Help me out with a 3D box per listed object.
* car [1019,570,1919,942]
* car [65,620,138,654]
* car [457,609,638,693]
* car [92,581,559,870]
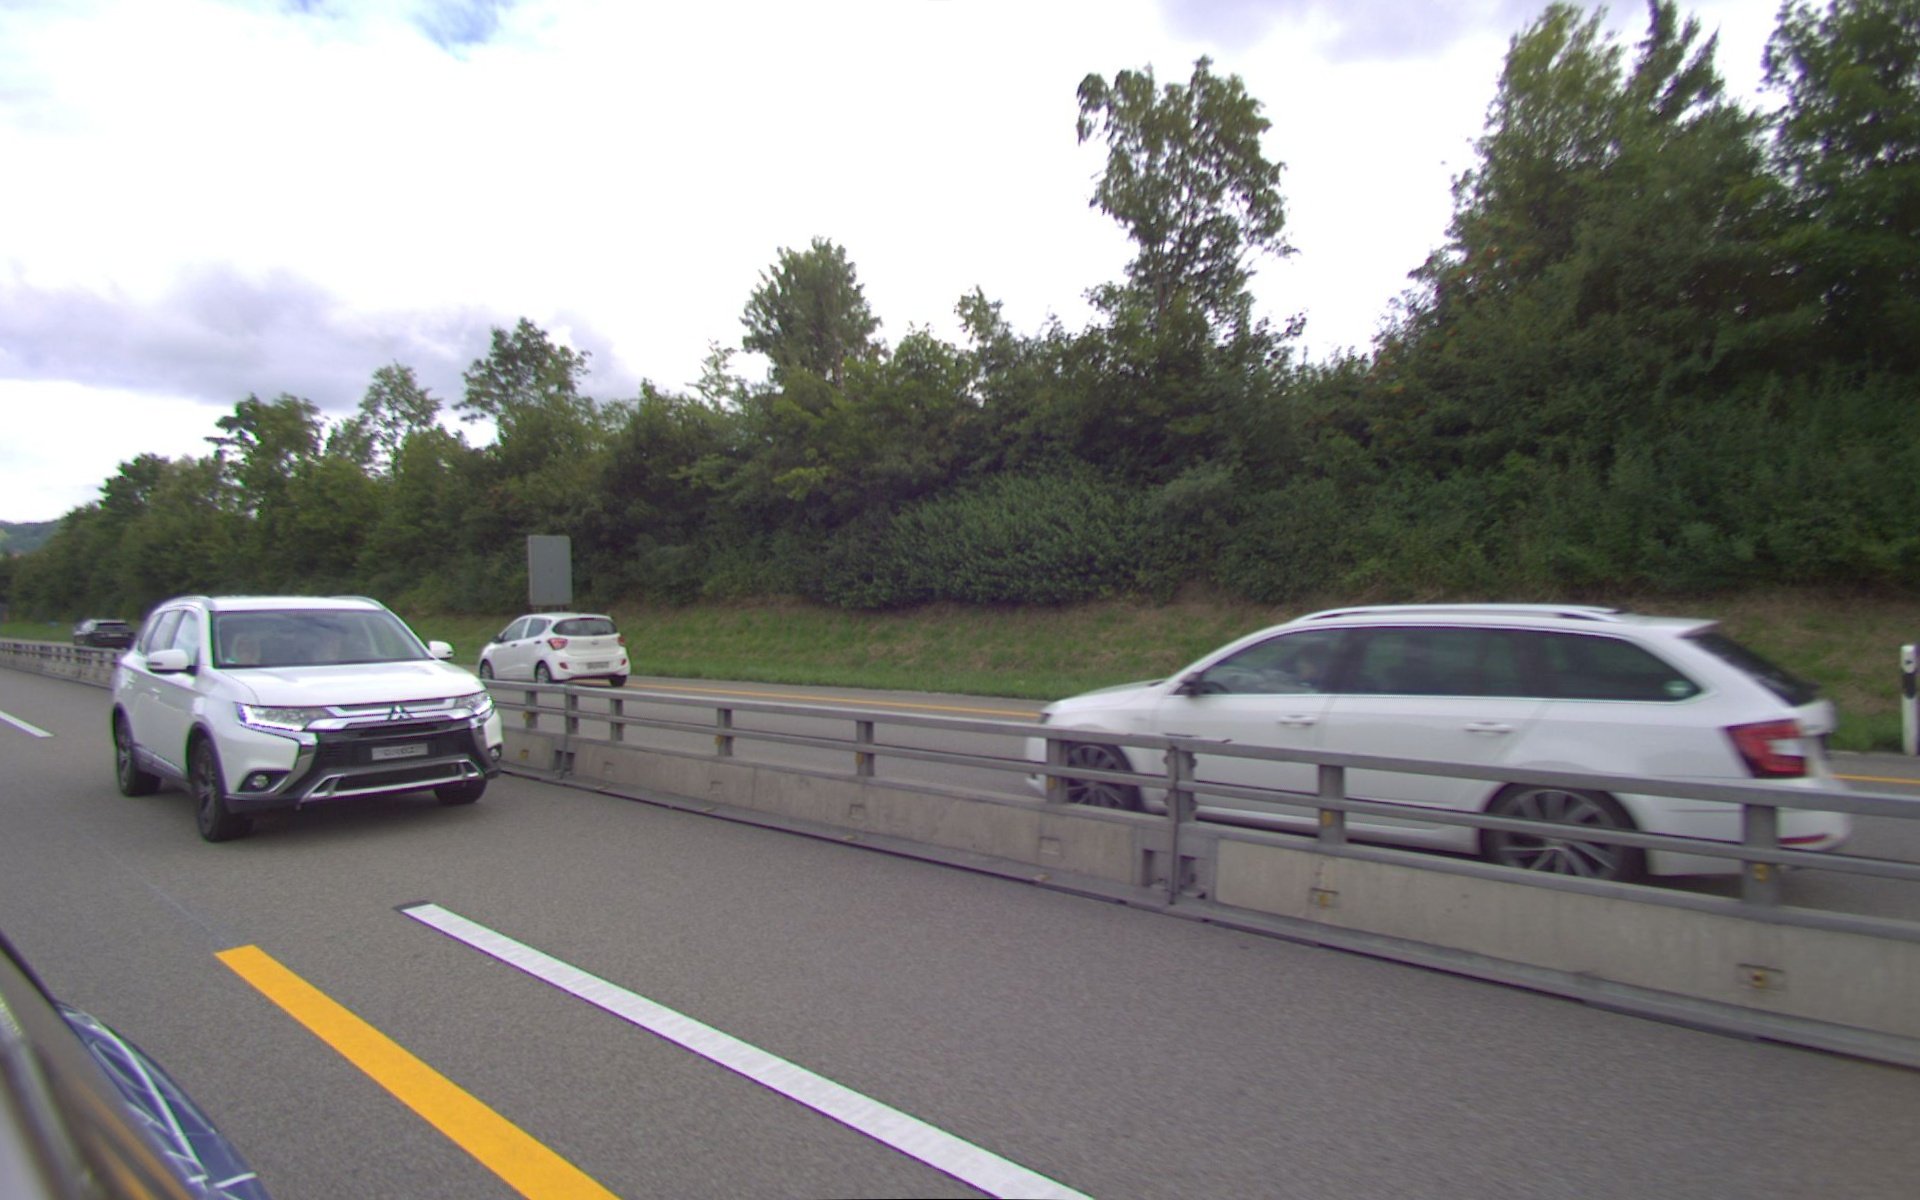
[{"bbox_3d":[2.672,0.653,6.039,4.548,1.465,1.678,-1,-1,40],"label":"car"},{"bbox_3d":[-41.392,1.748,48.748,5.022,1.535,1.973,-1,0,41],"label":"car"},{"bbox_3d":[-8.265,0.966,20.149,3.956,1.465,1.678,-1,0,40],"label":"car"},{"bbox_3d":[-5.233,0.757,8.048,4.606,1.640,1.972,-1,-1,42],"label":"car"}]
